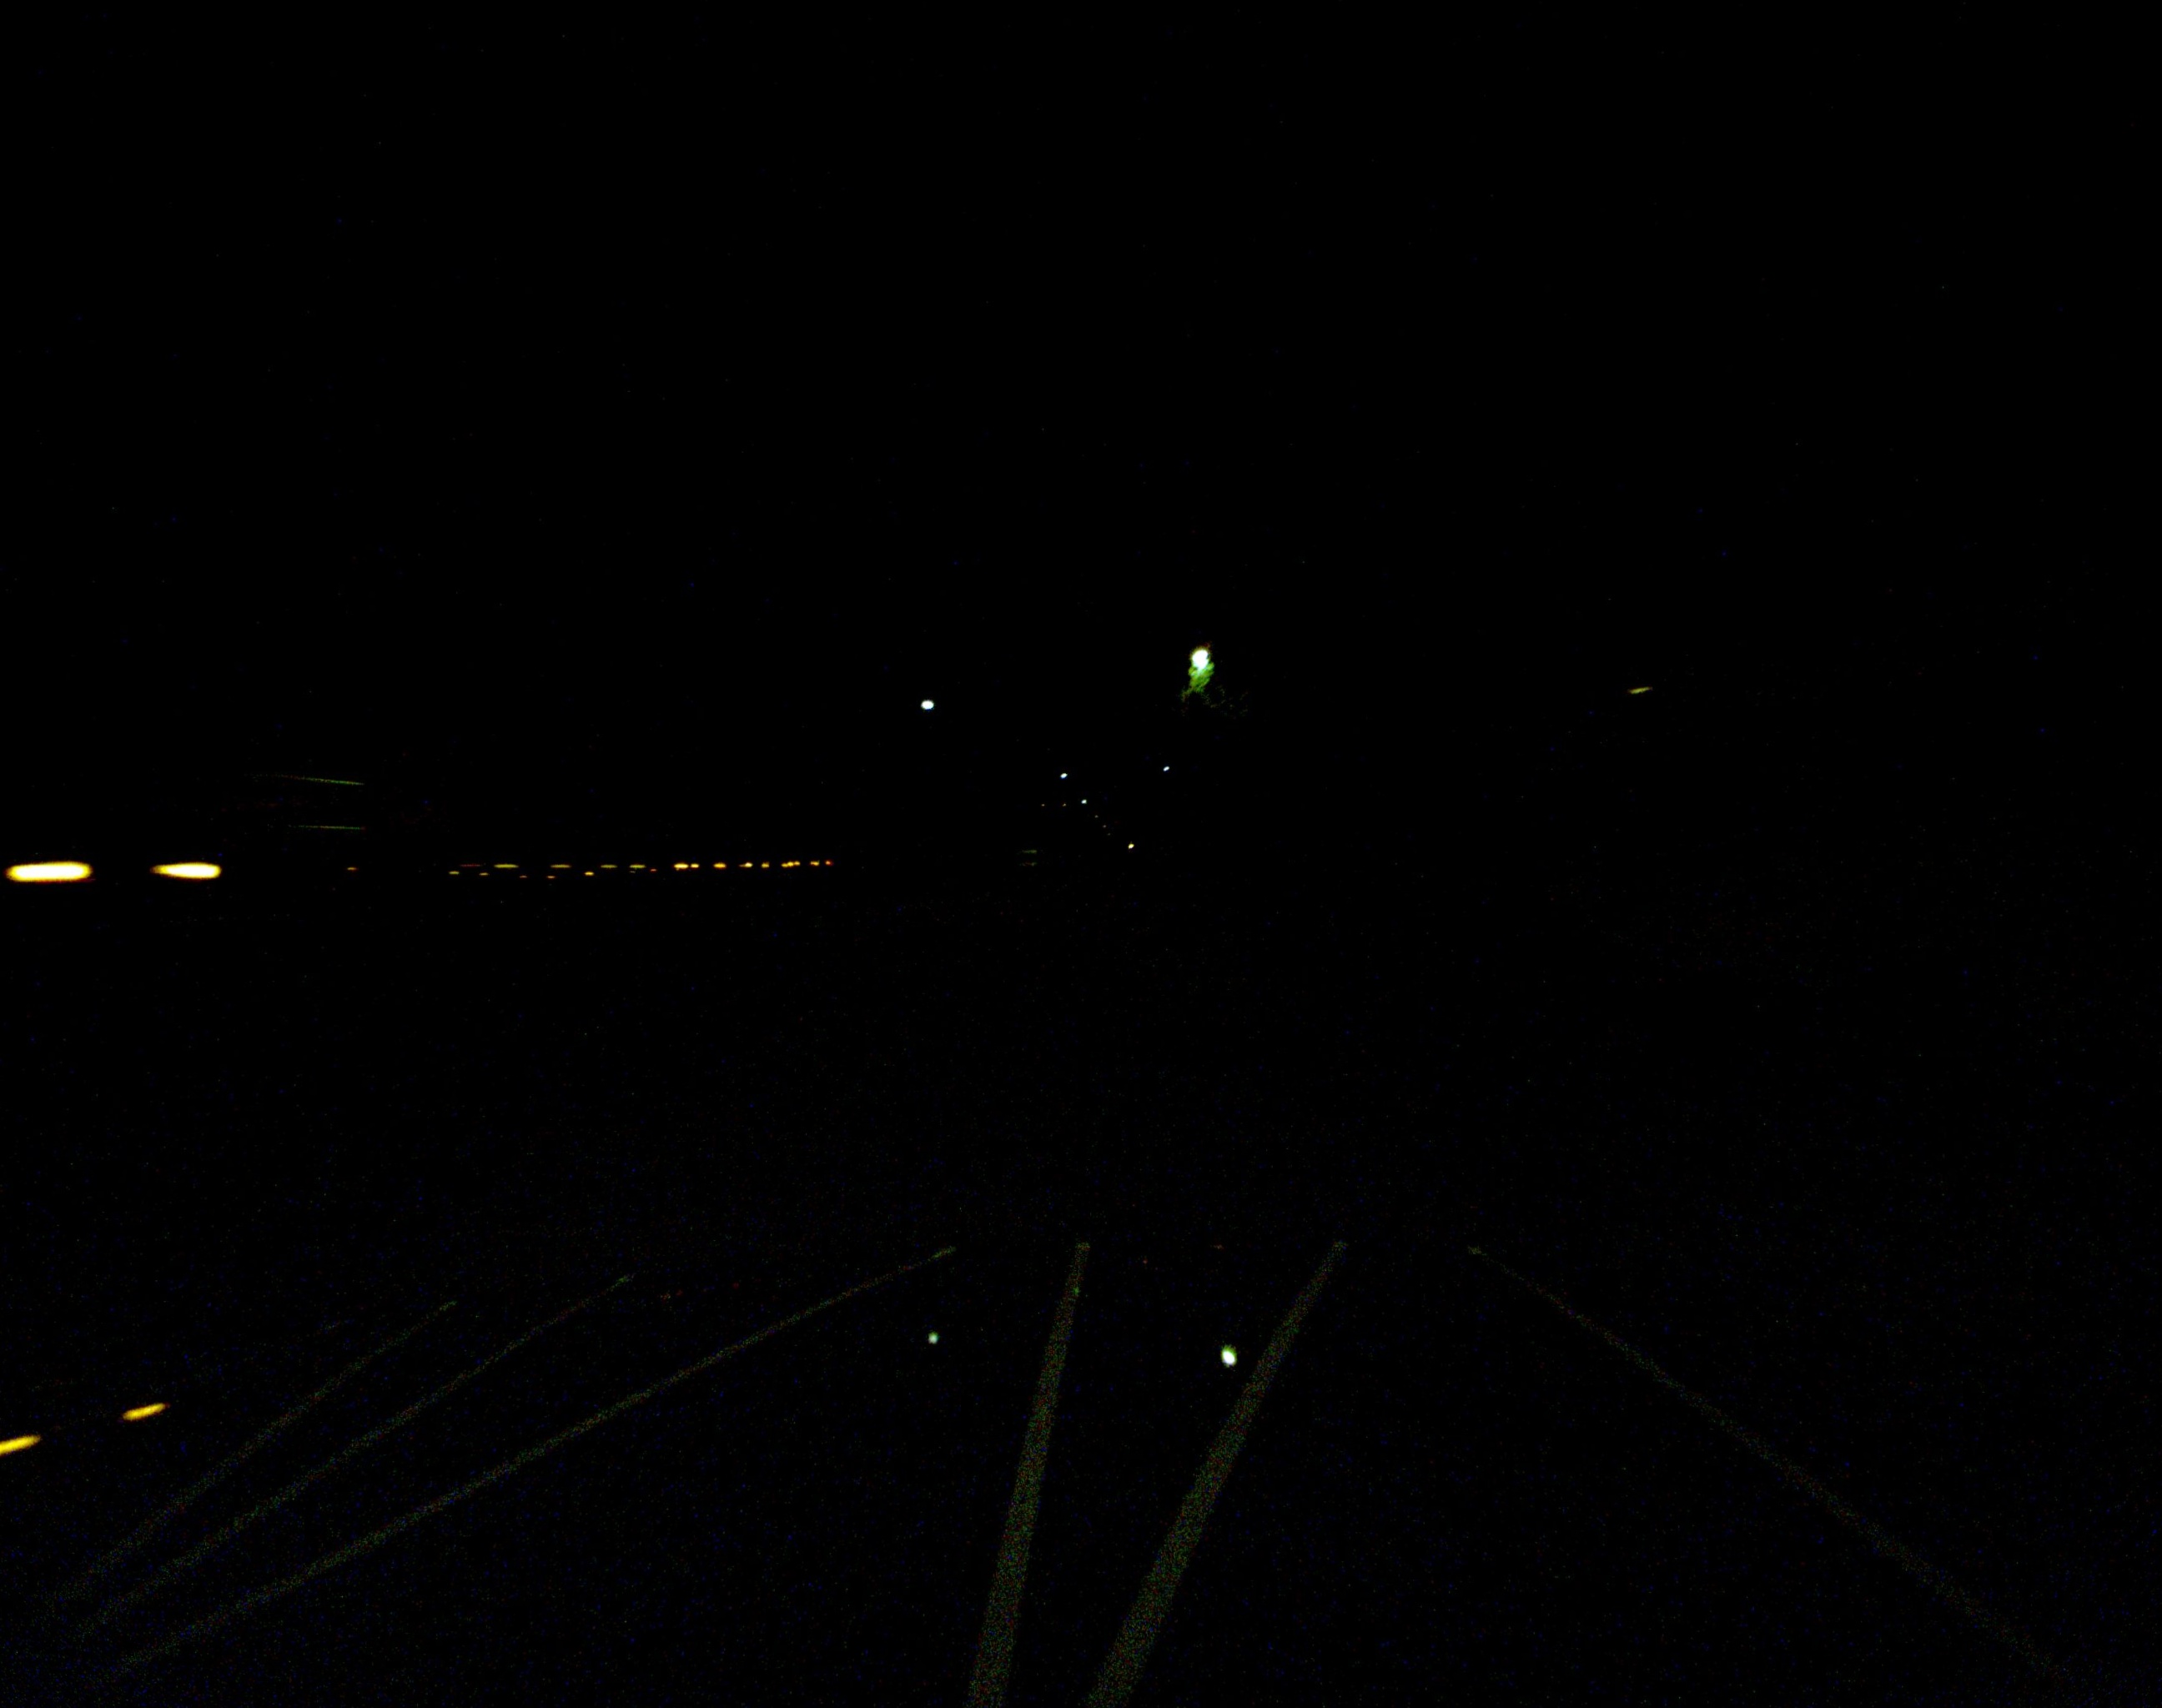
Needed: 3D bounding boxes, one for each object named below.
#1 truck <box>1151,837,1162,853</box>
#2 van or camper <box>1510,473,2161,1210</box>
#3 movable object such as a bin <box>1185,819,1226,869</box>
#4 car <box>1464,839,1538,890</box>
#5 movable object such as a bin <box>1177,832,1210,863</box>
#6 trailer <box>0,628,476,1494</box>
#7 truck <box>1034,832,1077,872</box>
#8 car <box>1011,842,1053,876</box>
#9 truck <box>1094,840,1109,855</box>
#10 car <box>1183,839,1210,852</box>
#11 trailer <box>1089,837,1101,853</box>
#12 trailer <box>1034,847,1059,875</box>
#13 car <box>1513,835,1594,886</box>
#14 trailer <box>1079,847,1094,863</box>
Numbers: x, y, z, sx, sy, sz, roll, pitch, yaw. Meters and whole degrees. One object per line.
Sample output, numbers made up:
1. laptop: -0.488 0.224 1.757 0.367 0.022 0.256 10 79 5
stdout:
1. truck: 20.462 -2.513 206.301 2.643 4.290 12.827 -1 1 7
2. van or camper: 5.957 -0.098 5.121 2.524 3.076 7.447 -1 1 5
3. movable object such as a bin: 7.028 -0.541 43.165 1.575 2.718 3.700 0 0 -3
4. car: 22.876 0.540 41.606 1.997 2.539 4.485 -3 0 8
5. movable object such as a bin: 9.057 -0.538 61.242 1.554 2.453 2.835 -2 1 -17
6. trailer: -3.740 0.506 2.330 1.566 2.148 5.210 -2 1 -23
7. truck: -2.568 -0.254 79.731 3.331 3.846 9.329 -3 1 4
8. car: -3.920 0.384 62.081 2.113 2.501 6.374 -3 0 7
9. truck: 5.989 -1.863 215.913 2.514 3.814 12.666 -3 0 9
10. car: 20.139 -1.532 133.008 4.442 1.960 2.000 -3 0 4
11. trailer: 3.015 -1.902 163.437 2.404 3.306 4.362 -3 0 1
12. trailer: -3.171 0.615 71.548 1.635 2.459 5.029 -3 0 4
13. car: 25.543 0.329 41.240 1.997 2.539 4.485 -3 0 8
14. trailer: 0.963 0.188 128.466 1.997 2.635 4.002 -3 0 7
